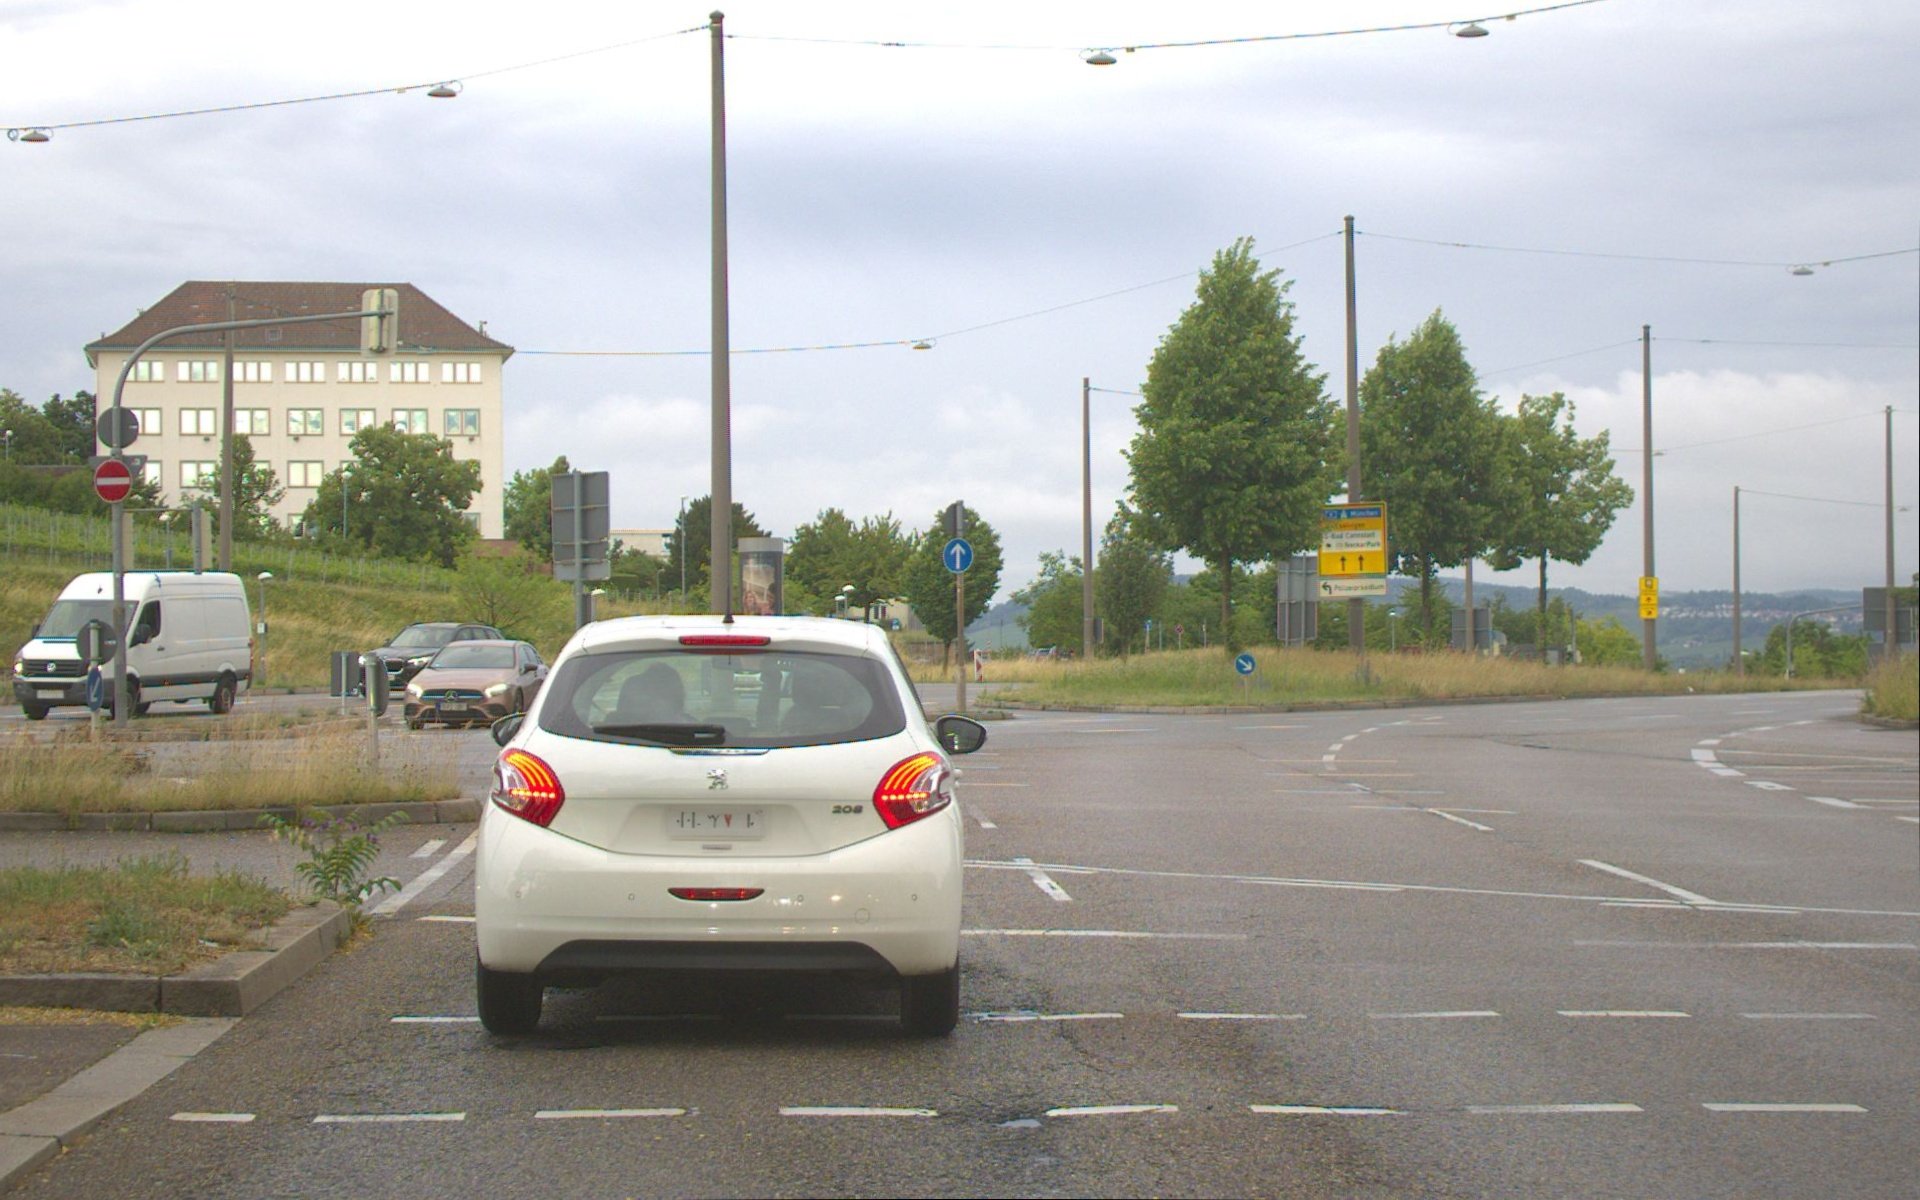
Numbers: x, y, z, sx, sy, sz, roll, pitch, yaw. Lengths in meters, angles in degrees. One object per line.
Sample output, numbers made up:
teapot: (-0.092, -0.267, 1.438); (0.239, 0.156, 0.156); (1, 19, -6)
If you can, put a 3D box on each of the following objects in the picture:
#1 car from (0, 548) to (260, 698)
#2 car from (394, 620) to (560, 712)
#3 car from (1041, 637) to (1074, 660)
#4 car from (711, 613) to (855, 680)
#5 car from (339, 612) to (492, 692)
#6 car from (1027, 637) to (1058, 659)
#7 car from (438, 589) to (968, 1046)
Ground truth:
car: (-14.965, 0.442, 62.357); (1.995, 2.550, 6.166); (1, -1, 13)
car: (-7.758, 1.056, 55.580); (1.776, 1.420, 4.373); (-1, -1, 4)
car: (6.526, 3.241, 230.478); (1.841, 1.481, 4.000); (0, 0, -3)
car: (-4.199, 1.127, 82.176); (1.753, 1.507, 3.994); (1, -1, 25)
car: (-11.710, 1.116, 74.195); (1.776, 1.630, 4.506); (1, -1, 11)
car: (5.733, 3.308, 238.853); (1.841, 1.481, 4.000); (0, 0, -3)
car: (-0.902, 0.732, 13.271); (1.717, 1.484, 4.000); (1, -1, -2)
